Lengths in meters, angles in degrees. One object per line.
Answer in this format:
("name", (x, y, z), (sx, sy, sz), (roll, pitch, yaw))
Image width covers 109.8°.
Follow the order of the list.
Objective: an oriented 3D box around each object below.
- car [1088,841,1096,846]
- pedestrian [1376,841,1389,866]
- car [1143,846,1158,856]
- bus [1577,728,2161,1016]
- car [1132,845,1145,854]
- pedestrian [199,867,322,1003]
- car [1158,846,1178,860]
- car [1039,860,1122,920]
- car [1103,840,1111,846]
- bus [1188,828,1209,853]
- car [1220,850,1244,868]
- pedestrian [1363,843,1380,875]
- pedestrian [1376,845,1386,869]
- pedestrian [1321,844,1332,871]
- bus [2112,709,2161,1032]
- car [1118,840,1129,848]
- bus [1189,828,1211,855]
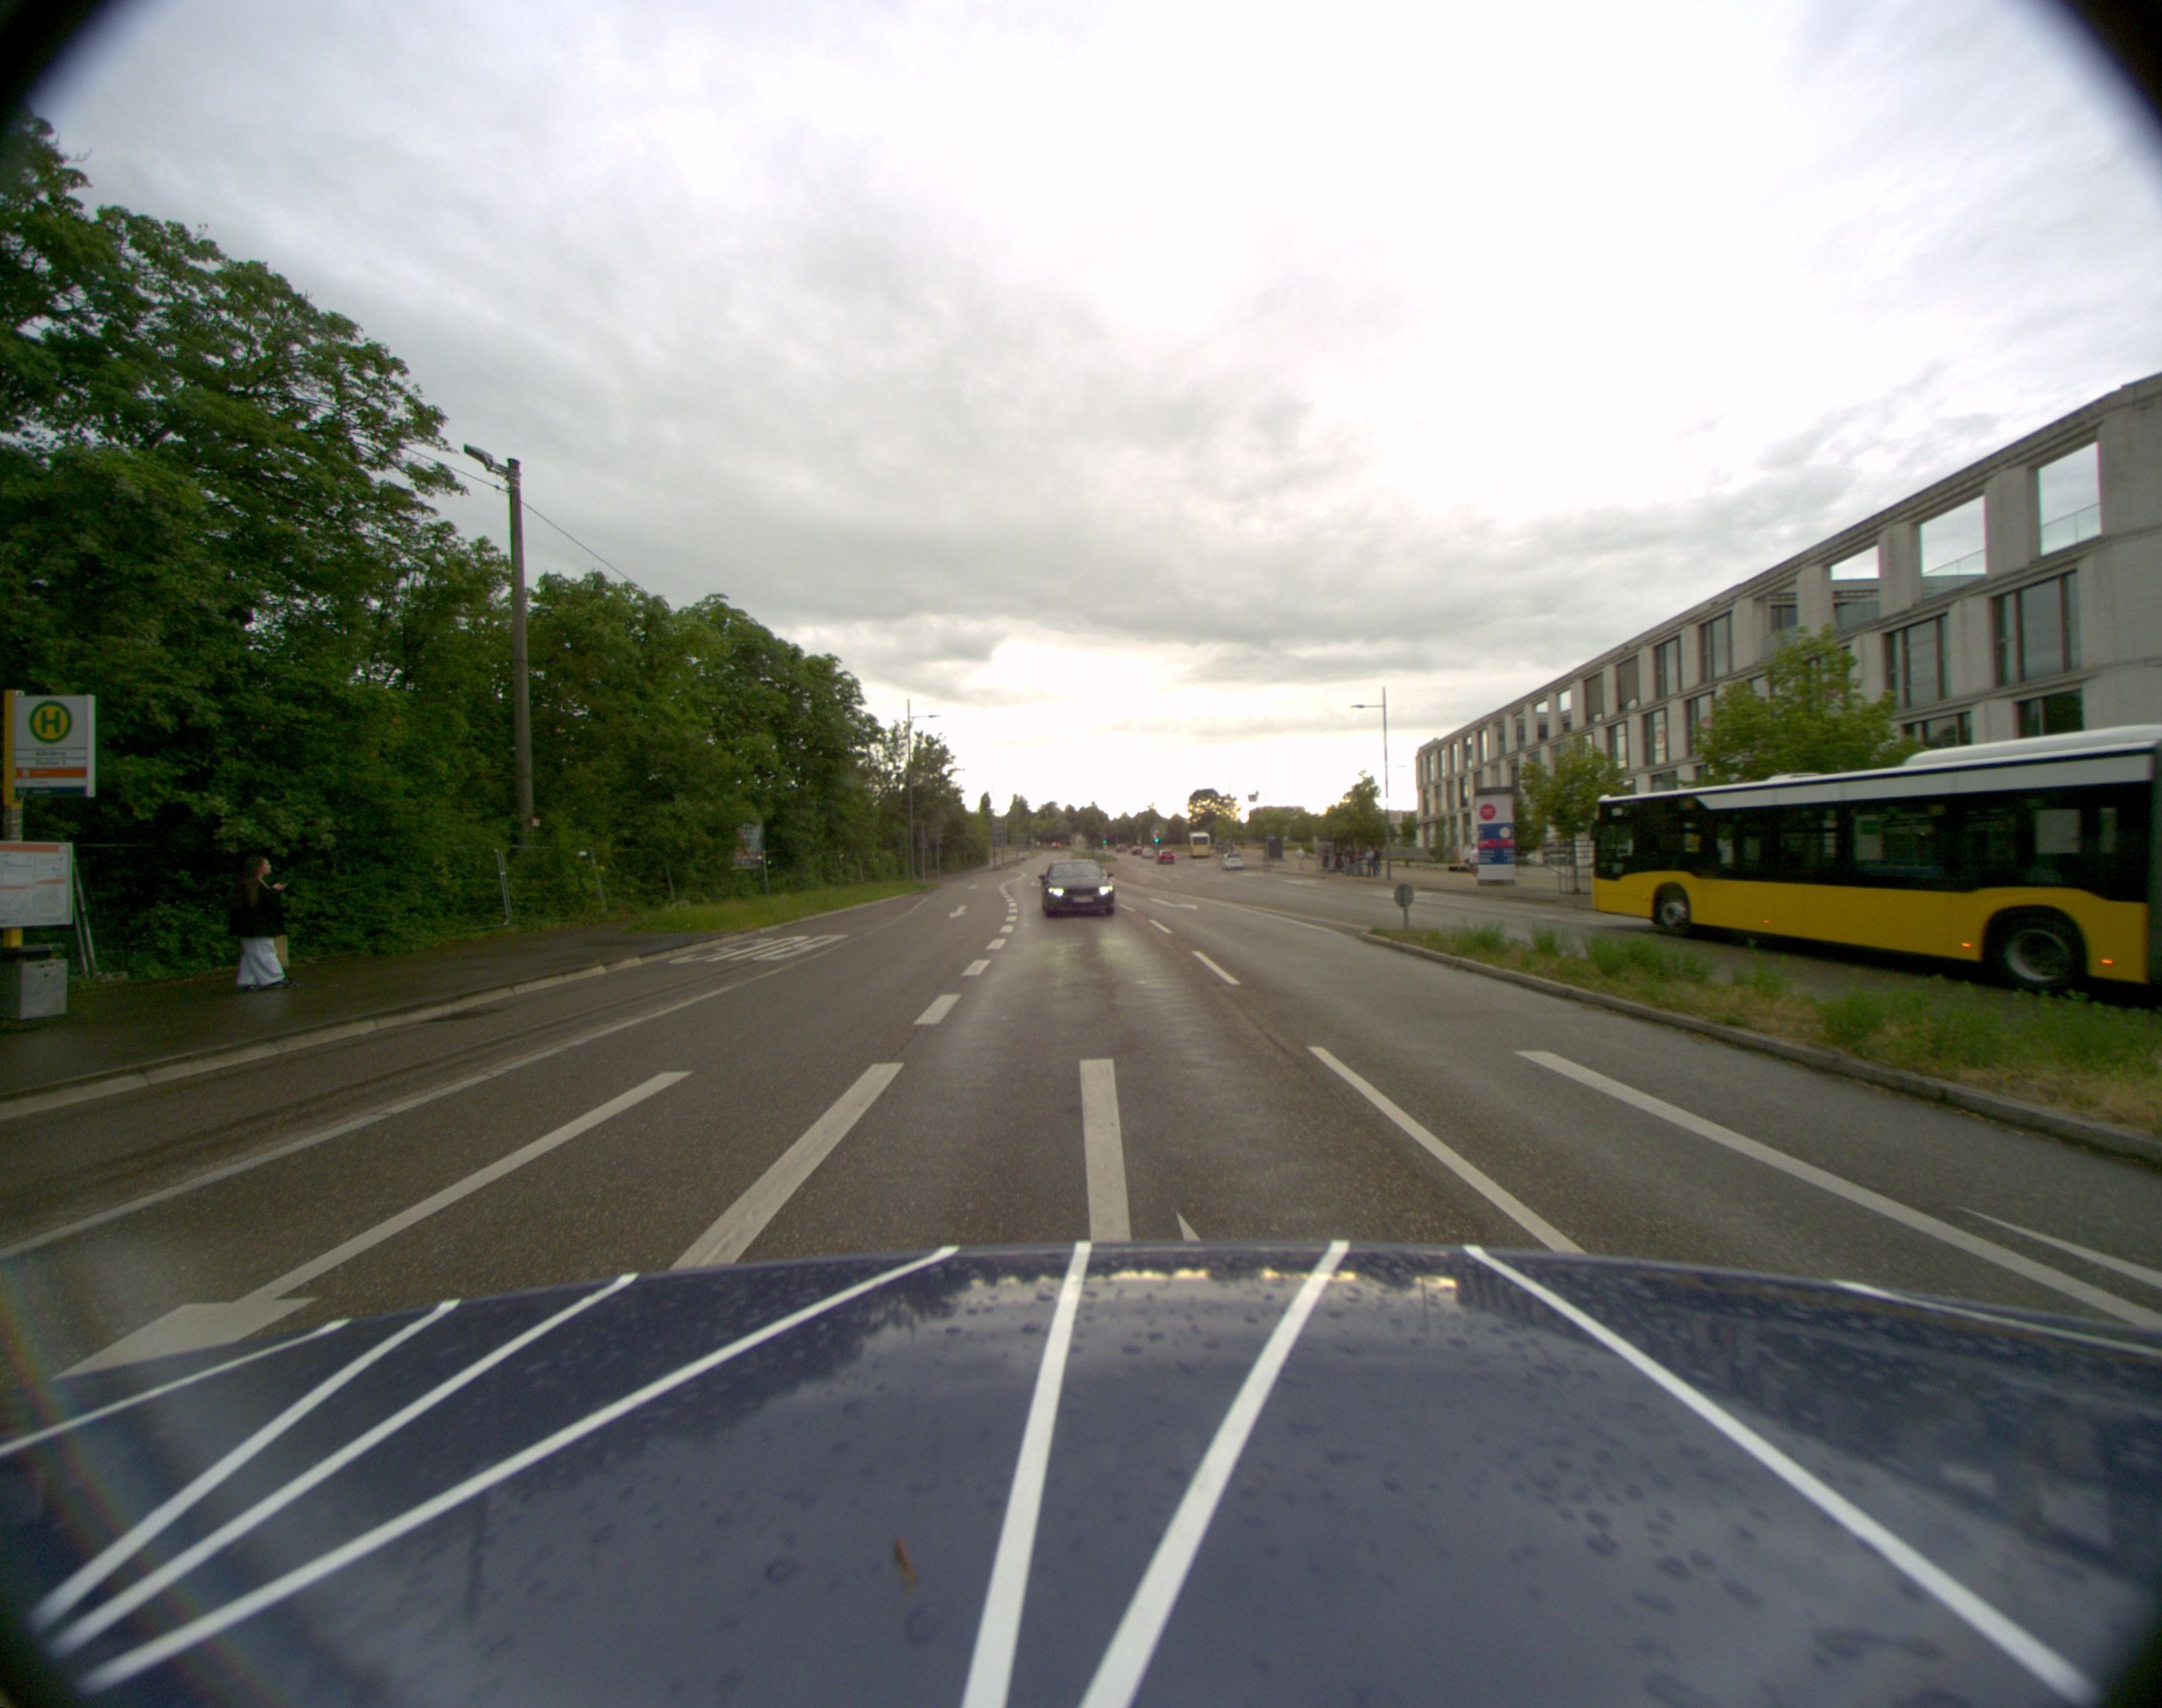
("car", (2.908, -2.757, 199.061), (1.851, 1.454, 3.866), (0, 1, 0))
("pedestrian", (21.951, -0.029, 55.347), (0.600, 1.752, 0.857), (-1, 1, 2))
("car", (10.311, -0.454, 113.191), (1.767, 1.408, 3.878), (1, 0, 0))
("bus", (12.773, 0.147, 12.940), (2.894, 3.085, 9.759), (-1, 0, 4))
("car", (9.666, -0.785, 128.894), (1.836, 1.408, 4.465), (1, 0, 0))
("pedestrian", (-10.489, 1.005, 9.750), (0.677, 1.648, 0.792), (-1, 1, -5))
("car", (10.555, -0.158, 92.566), (1.858, 1.673, 4.737), (1, 0, 0))
("car", (-0.131, 0.905, 20.796), (1.990, 1.391, 4.175), (-2, 0, -3))
("car", (6.318, -2.664, 183.891), (1.878, 1.422, 4.174), (1, 1, 0))
("bus", (18.098, -2.126, 117.709), (2.827, 3.453, 9.975), (-3, 2, 7))
("car", (14.111, 0.441, 71.217), (1.618, 1.500, 2.971), (-3, 2, 0))
("pedestrian", (17.045, 0.300, 44.591), (0.755, 1.832, 0.746), (-1, 1, 2))
("pedestrian", (18.734, 0.192, 47.480), (0.427, 1.443, 0.510), (-1, 1, 1))
("pedestrian", (17.062, 0.229, 52.829), (0.508, 1.832, 0.755), (-1, 1, -1))
("bus", (12.158, 0.181, 3.747), (2.894, 3.288, 8.578), (-1, 0, 4))
("car", (8.474, -1.955, 152.437), (1.836, 1.563, 4.592), (1, 1, 0))
("bus", (16.942, -1.853, 108.690), (2.827, 3.453, 8.232), (-3, 2, 7))
